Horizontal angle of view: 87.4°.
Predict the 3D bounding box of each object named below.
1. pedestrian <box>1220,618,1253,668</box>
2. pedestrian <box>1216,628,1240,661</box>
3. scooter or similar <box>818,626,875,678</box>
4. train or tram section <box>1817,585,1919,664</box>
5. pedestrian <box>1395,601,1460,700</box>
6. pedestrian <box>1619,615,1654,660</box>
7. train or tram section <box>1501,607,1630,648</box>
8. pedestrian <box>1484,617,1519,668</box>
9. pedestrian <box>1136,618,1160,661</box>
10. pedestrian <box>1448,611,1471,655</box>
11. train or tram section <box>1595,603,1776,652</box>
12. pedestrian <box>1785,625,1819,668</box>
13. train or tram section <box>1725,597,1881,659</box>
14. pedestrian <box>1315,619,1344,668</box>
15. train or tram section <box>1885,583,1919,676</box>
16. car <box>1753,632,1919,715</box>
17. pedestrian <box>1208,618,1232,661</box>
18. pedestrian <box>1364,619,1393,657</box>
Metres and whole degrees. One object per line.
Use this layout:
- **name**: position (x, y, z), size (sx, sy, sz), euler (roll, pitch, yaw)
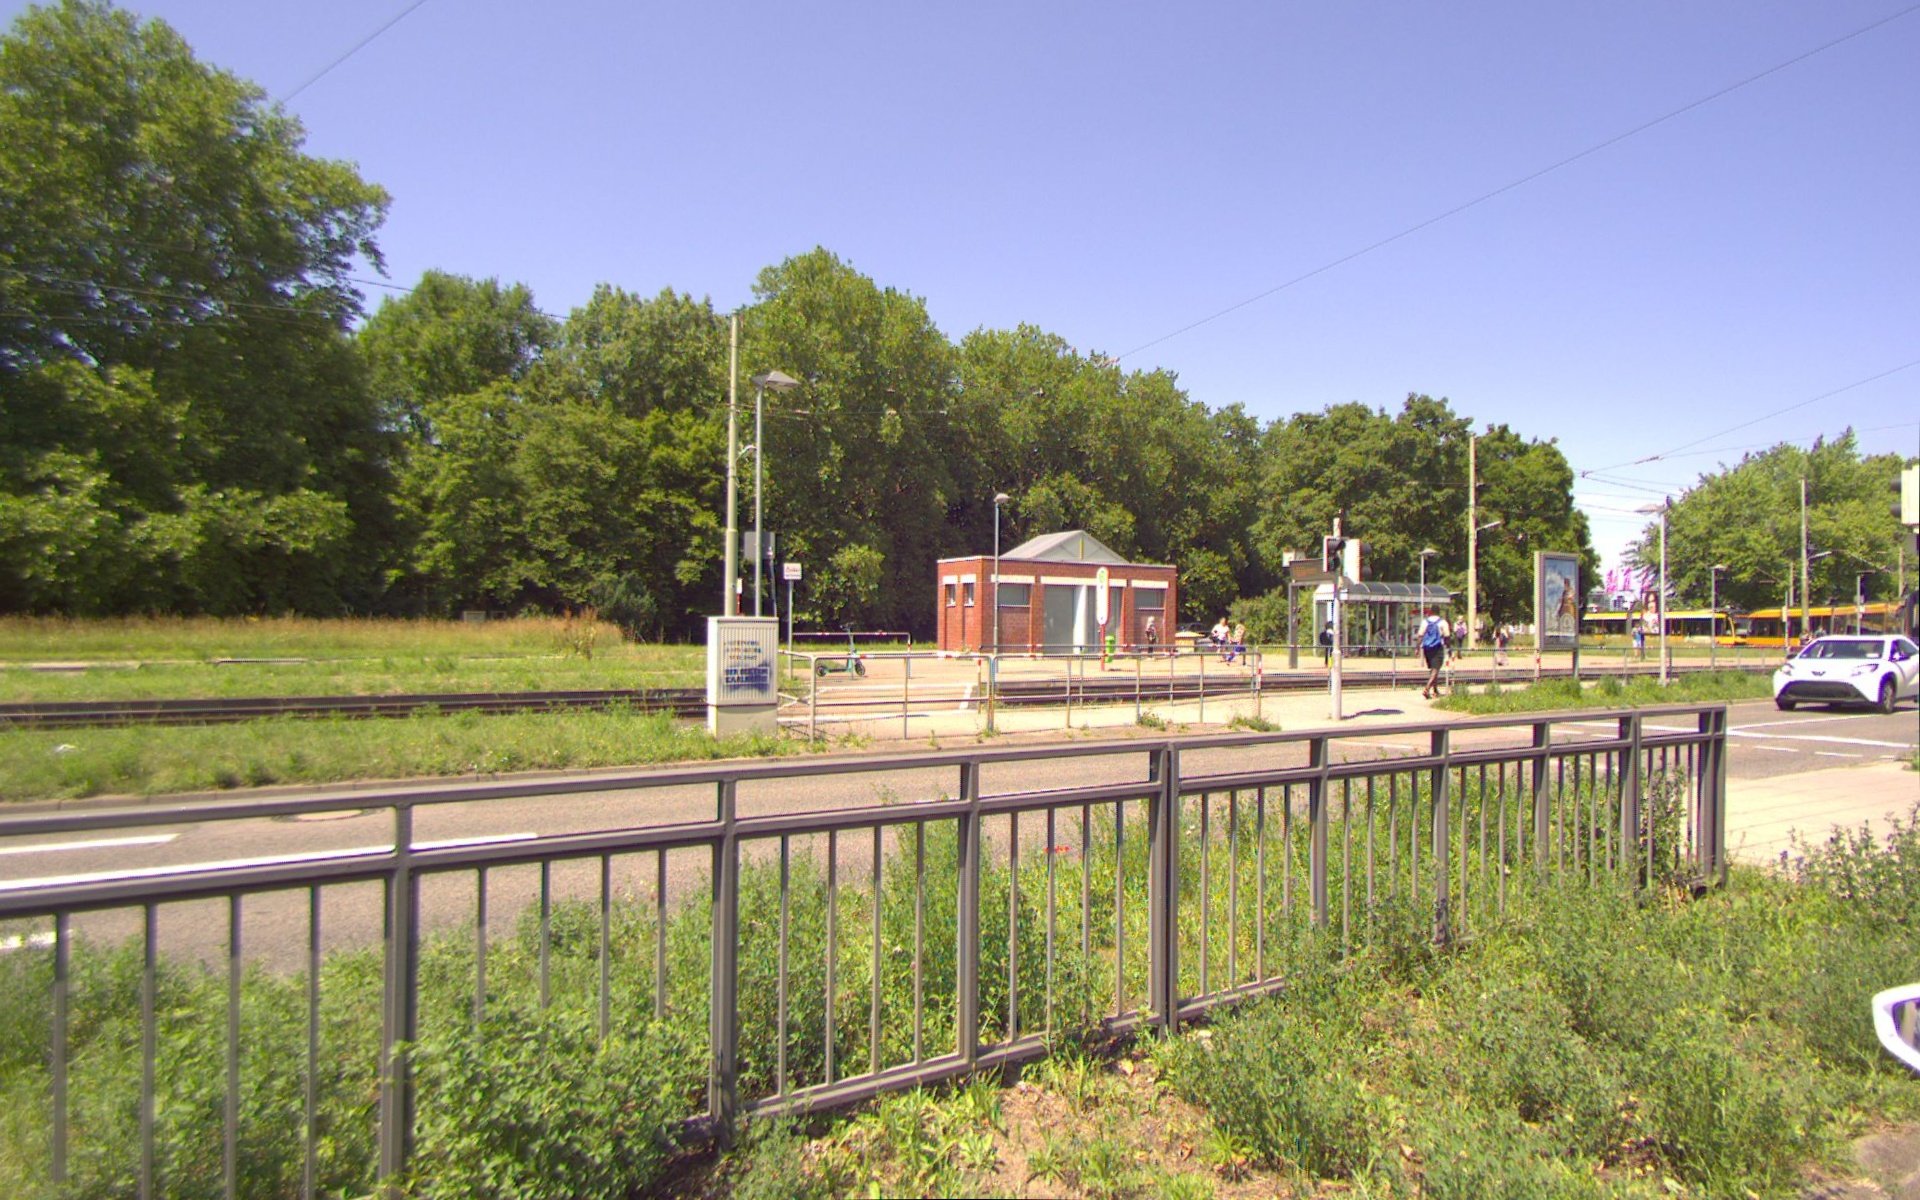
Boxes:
- **pedestrian**: position (9.034, 1.385, 32.834), size (0.799, 1.611, 0.668), euler (1, -1, -30)
- **pedestrian**: position (9.557, 1.582, 35.800), size (0.560, 1.139, 0.639), euler (1, -1, -15)
- **scooter or similar**: position (-2.645, 1.202, 23.446), size (1.217, 1.183, 0.508), euler (1, -1, -30)
- **train or tram section**: position (53.328, 1.449, 58.060), size (3.170, 3.984, 18.454), euler (0, -1, 32)
- **pedestrian**: position (9.058, 0.960, 19.458), size (0.832, 1.802, 0.714), euler (-1, 5, -30)
- **pedestrian**: position (31.233, 1.718, 46.384), size (1.009, 2.040, 0.976), euler (1, -1, -30)
- **train or tram section**: position (65.414, 2.934, 109.479), size (3.162, 3.984, 18.504), euler (1, -1, 1)
- **pedestrian**: position (20.025, 1.550, 37.151), size (0.832, 1.802, 0.714), euler (-1, 5, -30)
- **pedestrian**: position (6.556, 1.368, 35.041), size (0.563, 1.499, 0.636), euler (1, -1, -30)
- **pedestrian**: position (21.084, 1.397, 42.416), size (0.707, 1.824, 0.845), euler (0, -1, 17)
- **train or tram section**: position (65.095, 2.445, 91.235), size (3.162, 3.984, 18.503), euler (1, -1, 0)
- **pedestrian**: position (40.344, 2.230, 48.123), size (1.009, 2.040, 0.976), euler (1, -1, -30)
- **train or tram section**: position (61.771, 2.033, 74.429), size (3.163, 3.984, 18.496), euler (0, -1, 22)
- **pedestrian**: position (11.917, 1.397, 32.376), size (0.688, 1.575, 0.629), euler (1, -1, -42)
- **train or tram section**: position (51.728, 1.503, 48.051), size (29.689, 3.799, 2.943), euler (1, -1, -31)
- **car**: position (18.011, 1.428, 20.363), size (3.747, 1.514, 1.836), euler (1, -1, -30)
- **pedestrian**: position (9.048, 1.370, 34.940), size (0.573, 1.476, 0.639), euler (1, -1, -15)
- **pedestrian**: position (17.236, 1.574, 41.371), size (0.710, 1.531, 0.841), euler (1, -1, -19)
